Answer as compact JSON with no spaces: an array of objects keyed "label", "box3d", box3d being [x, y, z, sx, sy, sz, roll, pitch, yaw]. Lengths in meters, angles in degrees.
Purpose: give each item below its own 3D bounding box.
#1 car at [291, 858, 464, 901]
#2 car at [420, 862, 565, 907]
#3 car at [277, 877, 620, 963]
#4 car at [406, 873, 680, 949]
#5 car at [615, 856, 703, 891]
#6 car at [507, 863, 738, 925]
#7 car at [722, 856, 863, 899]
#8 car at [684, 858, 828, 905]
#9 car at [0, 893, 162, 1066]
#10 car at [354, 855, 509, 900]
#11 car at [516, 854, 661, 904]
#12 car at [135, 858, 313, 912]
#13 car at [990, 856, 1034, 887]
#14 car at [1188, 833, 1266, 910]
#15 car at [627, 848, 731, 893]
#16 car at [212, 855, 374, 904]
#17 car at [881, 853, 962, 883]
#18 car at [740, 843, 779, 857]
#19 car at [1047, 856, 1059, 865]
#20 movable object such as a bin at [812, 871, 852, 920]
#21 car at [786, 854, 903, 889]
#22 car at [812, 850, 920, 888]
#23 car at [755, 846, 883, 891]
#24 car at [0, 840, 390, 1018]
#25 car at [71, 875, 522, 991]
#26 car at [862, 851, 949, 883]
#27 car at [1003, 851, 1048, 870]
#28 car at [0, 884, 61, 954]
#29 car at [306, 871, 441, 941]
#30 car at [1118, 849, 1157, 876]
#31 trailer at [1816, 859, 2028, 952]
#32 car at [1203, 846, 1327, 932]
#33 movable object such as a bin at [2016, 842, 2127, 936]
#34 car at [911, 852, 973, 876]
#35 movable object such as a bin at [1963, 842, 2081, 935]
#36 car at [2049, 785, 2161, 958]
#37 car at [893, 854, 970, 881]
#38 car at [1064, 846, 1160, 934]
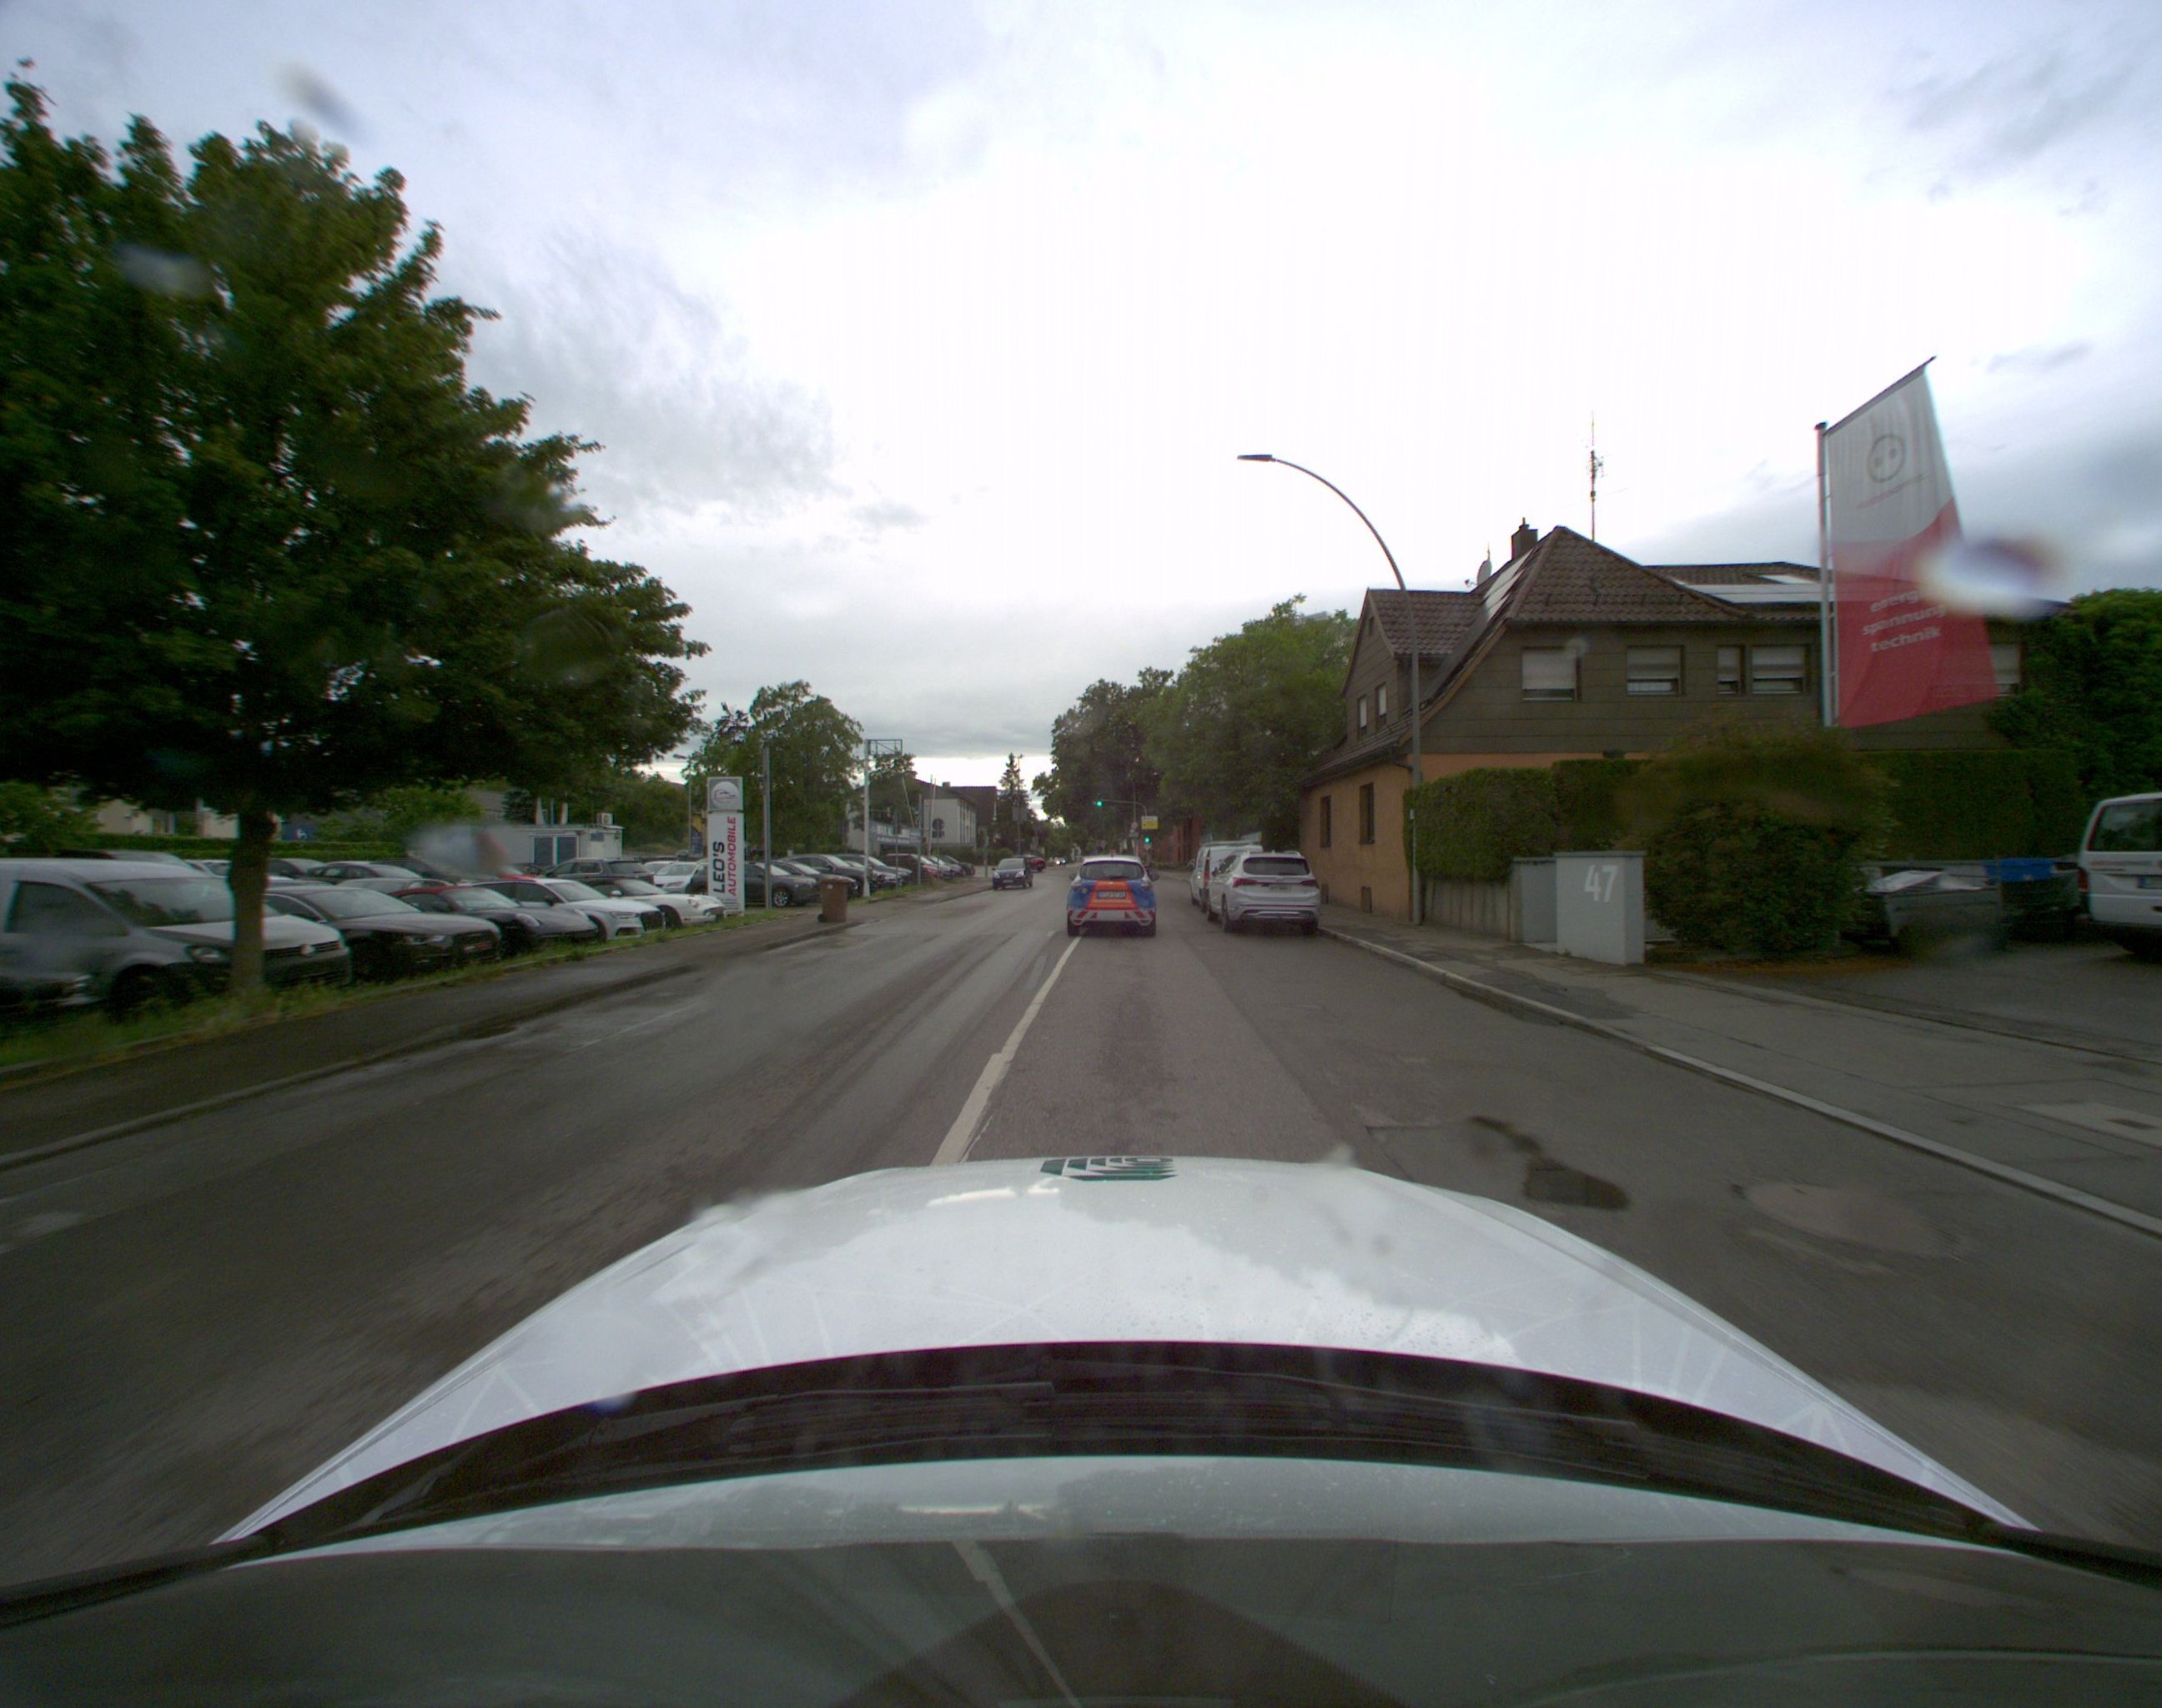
[{"label":"car","box3d":[-21.676,0.766,25.195,3.715,1.272,2.004,0,0,6]},{"label":"car","box3d":[-21.798,1.105,30.285,3.975,1.530,1.837,-1,0,-1]},{"label":"car","box3d":[-10.937,1.112,14.323,4.541,1.309,1.890,-1,0,1]},{"label":"car","box3d":[-10.908,1.133,16.752,4.360,1.374,1.890,-1,0,1]},{"label":"car","box3d":[-18.715,0.818,36.361,1.684,1.398,4.002,-1,0,2]},{"label":"car","box3d":[-10.700,0.913,19.225,4.435,1.332,1.772,-1,0,1]},{"label":"car","box3d":[-10.349,0.823,29.419,4.330,1.464,1.942,0,0,2]},{"label":"car","box3d":[-10.671,0.887,26.915,3.971,1.464,1.840,0,0,2]},{"label":"car","box3d":[-10.910,1.096,6.978,3.902,1.372,1.760,-1,0,-3]},{"label":"car","box3d":[-21.811,0.764,27.475,3.725,1.438,1.786,0,0,-2]},{"label":"car","box3d":[-15.837,0.773,26.226,3.953,1.499,1.947,0,0,20]},{"label":"car","box3d":[-26.540,0.934,25.308,3.719,1.571,1.789,0,0,3]},{"label":"car","box3d":[-3.373,0.851,40.348,1.619,1.433,3.687,-1,0,3]},{"label":"car","box3d":[4.172,0.425,23.955,1.770,2.029,4.760,1,1,4]},{"label":"car","box3d":[-14.744,0.574,30.147,1.684,1.530,4.002,-1,0,2]},{"label":"car","box3d":[-26.677,0.834,27.662,3.723,1.558,1.787,0,0,0]},{"label":"car","box3d":[-8.676,0.750,44.495,3.969,1.544,1.806,1,0,4]},{"label":"car","box3d":[-39.881,-0.495,101.083,1.974,1.723,4.025,1,1,39]},{"label":"car","box3d":[-4.620,1.053,135.565,1.936,1.452,4.298,1,-1,-1]},{"label":"movable object such as a bin","box3d":[-5.970,0.990,19.536,0.705,1.130,0.735,0,0,2]},{"label":"car","box3d":[-9.980,0.732,34.622,4.330,1.432,1.960,0,0,2]},{"label":"car","box3d":[-9.729,0.663,37.074,4.330,1.690,1.960,0,0,2]},{"label":"car","box3d":[-10.247,0.547,32.067,4.330,1.691,2.060,0,0,2]},{"label":"car","box3d":[-11.038,0.778,9.297,4.546,1.790,1.896,-1,0,-3]},{"label":"car","box3d":[-11.080,1.068,11.808,4.546,1.418,1.896,-1,0,-3]},{"label":"car","box3d":[-8.924,0.627,41.548,3.969,1.544,1.806,1,0,4]},{"label":"car","box3d":[-4.709,0.534,68.557,1.809,1.428,3.953,0,1,-41]},{"label":"car","box3d":[-20.351,1.195,13.852,1.656,1.236,3.528,0,0,-4]},{"label":"car","box3d":[-16.279,1.131,18.916,1.339,1.415,3.210,-1,0,-21]},{"label":"car","box3d":[3.613,0.500,51.330,1.981,1.574,4.012,1,1,11]},{"label":"trailer","box3d":[11.198,0.657,10.892,1.910,1.034,0.919,-4,0,-4]},{"label":"car","box3d":[3.891,0.679,17.921,1.859,1.665,4.321,0,0,1]},{"label":"movable object such as a bin","box3d":[13.571,0.459,11.183,0.530,1.187,0.811,-2,3,2]},{"label":"car","box3d":[-9.109,0.653,53.734,3.944,1.530,1.618,1,1,-9]},{"label":"movable object such as a bin","box3d":[12.977,0.460,11.257,0.687,1.187,0.811,-2,3,3]},{"label":"car","box3d":[14.055,0.069,9.069,4.449,1.899,1.859,-3,0,-3]},{"label":"car","box3d":[-8.546,0.754,46.769,3.969,1.441,1.806,1,0,4]},{"label":"car","box3d":[0.636,0.642,16.956,1.739,1.581,4.002,-1,1,2]}]
